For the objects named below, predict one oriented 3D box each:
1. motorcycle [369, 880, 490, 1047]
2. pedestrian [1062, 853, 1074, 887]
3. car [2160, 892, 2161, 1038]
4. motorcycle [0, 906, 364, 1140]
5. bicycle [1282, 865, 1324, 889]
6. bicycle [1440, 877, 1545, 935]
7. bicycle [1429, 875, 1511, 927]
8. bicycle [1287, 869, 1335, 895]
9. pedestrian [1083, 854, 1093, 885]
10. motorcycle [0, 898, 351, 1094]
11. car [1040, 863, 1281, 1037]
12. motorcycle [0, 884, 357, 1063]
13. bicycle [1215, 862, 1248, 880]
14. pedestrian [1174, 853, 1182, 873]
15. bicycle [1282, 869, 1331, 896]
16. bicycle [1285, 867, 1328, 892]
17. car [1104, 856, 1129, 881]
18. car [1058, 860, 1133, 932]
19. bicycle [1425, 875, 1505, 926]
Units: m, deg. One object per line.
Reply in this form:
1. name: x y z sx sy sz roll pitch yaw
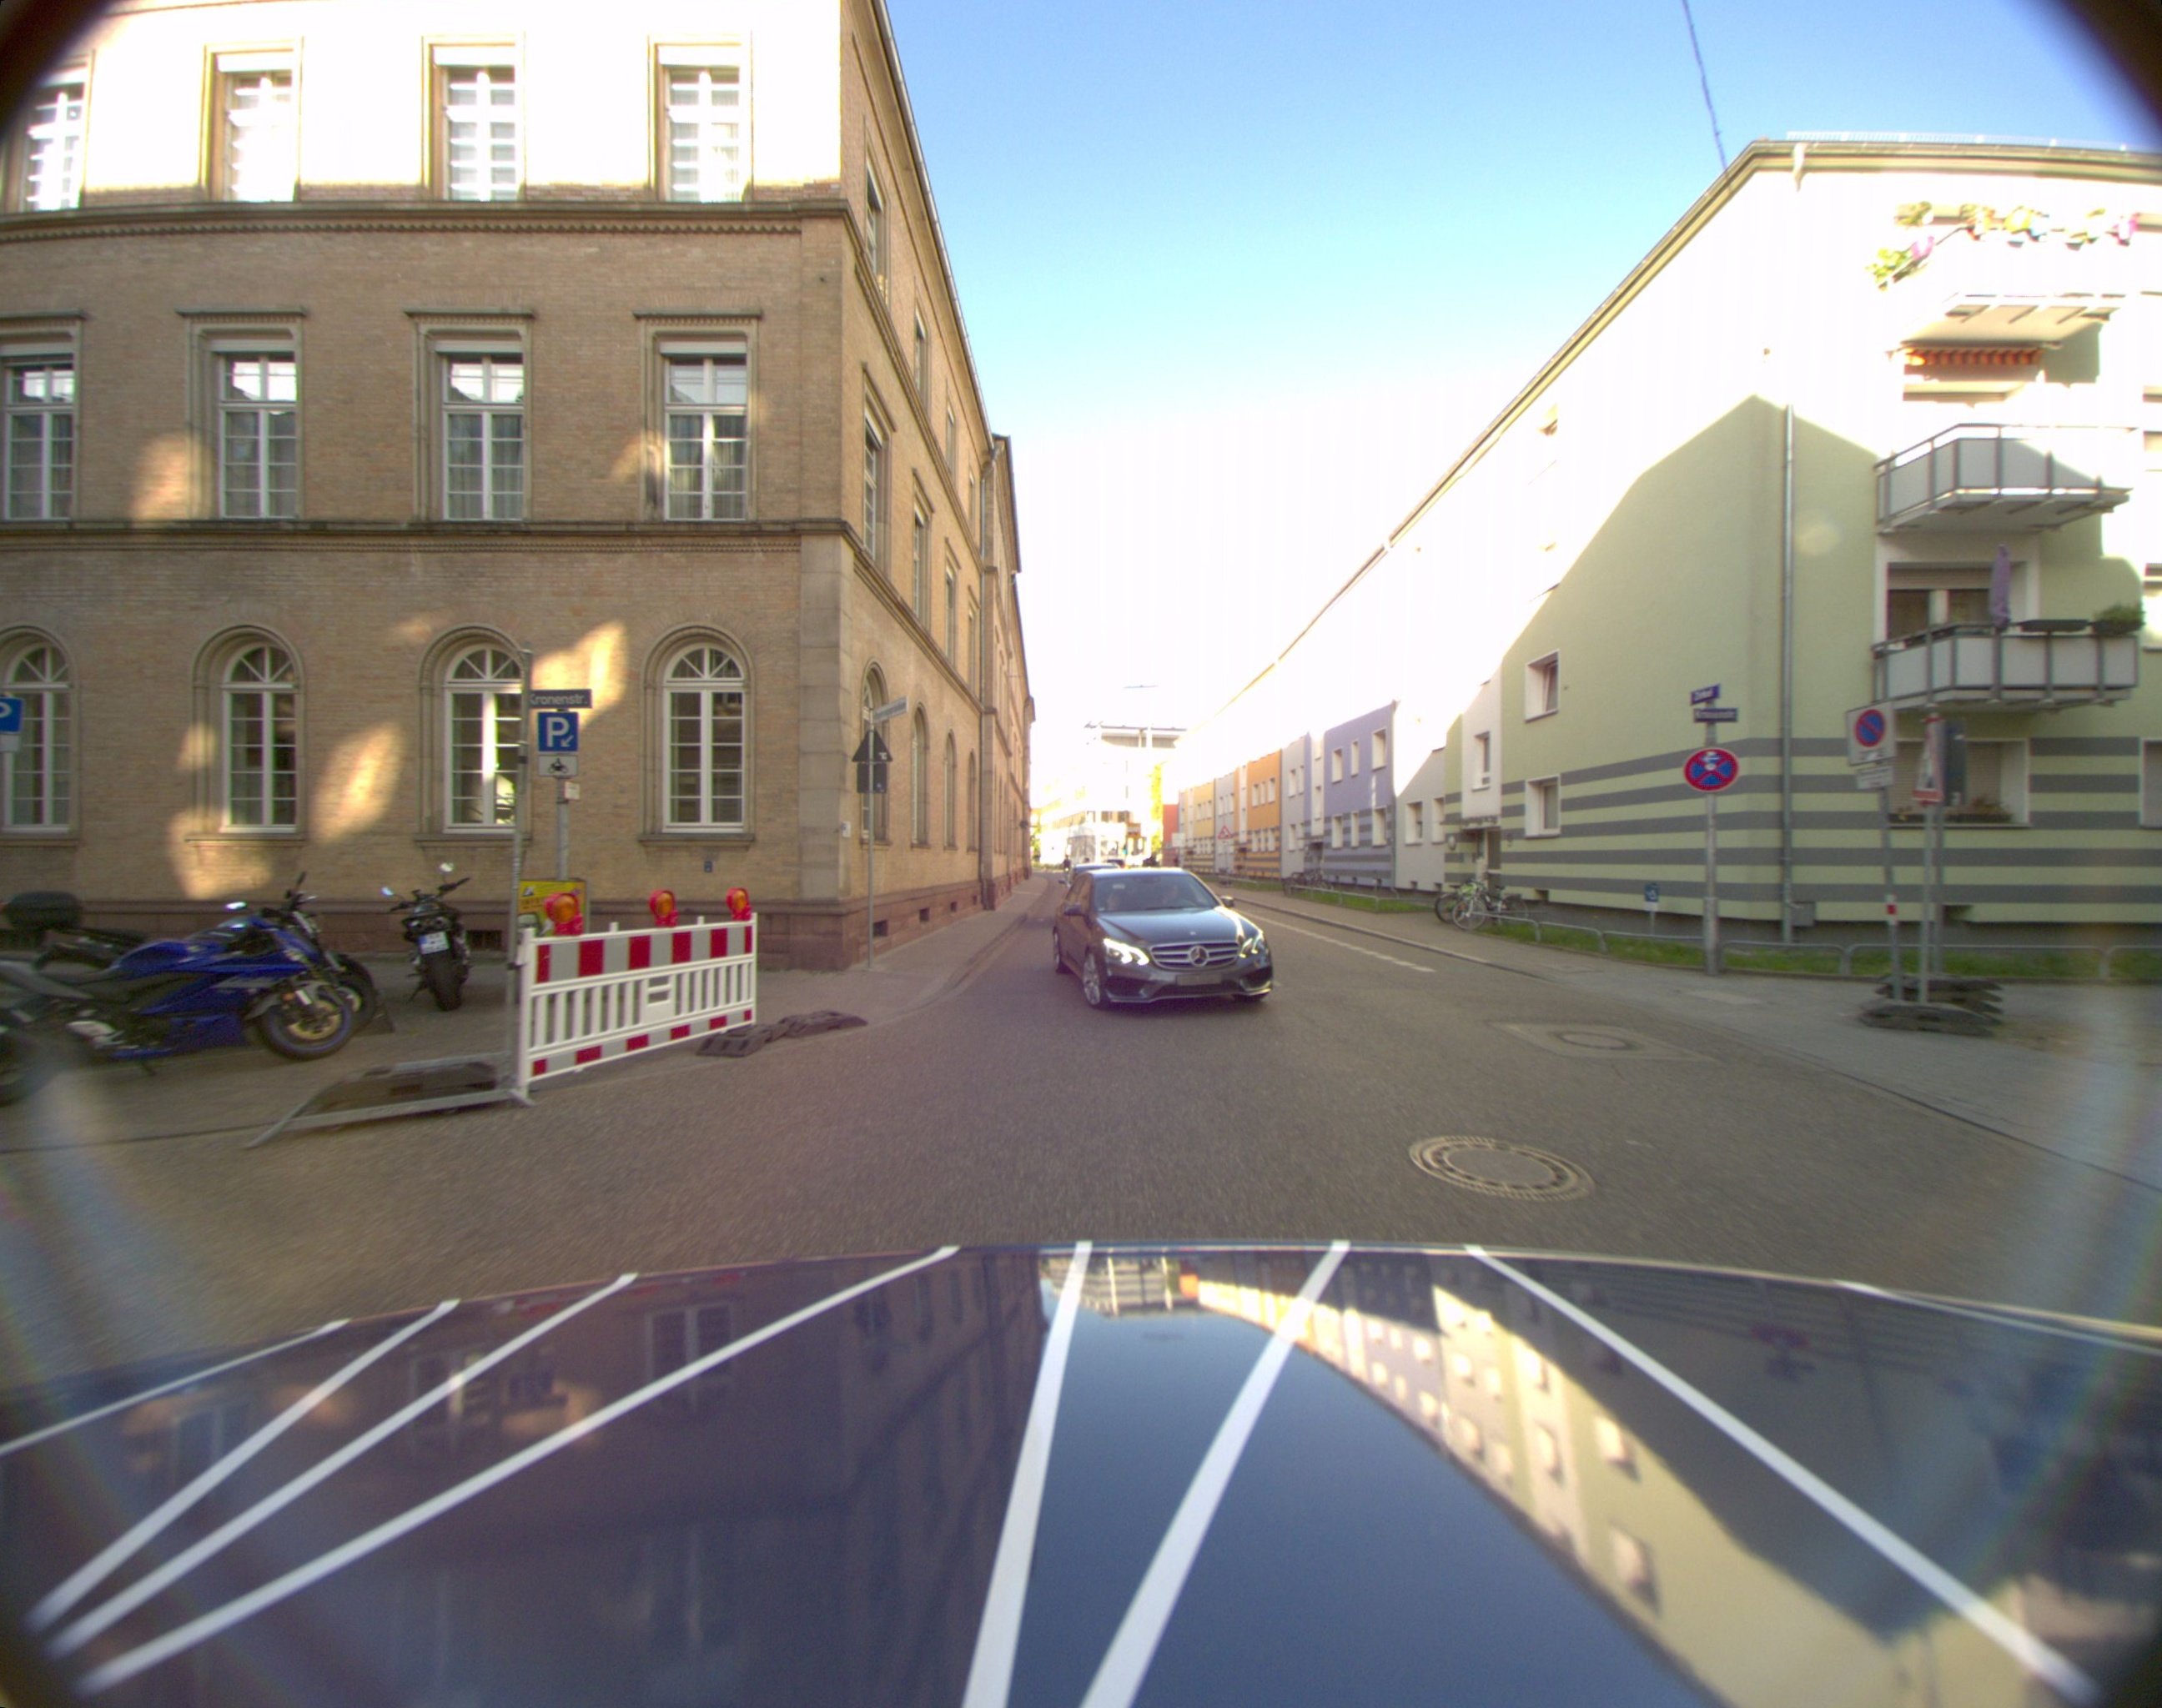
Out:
1. motorcycle: -6.368 0.957 7.381 2.073 1.325 0.708 1 2 45
2. pedestrian: -0.768 0.935 44.349 0.677 1.928 0.858 0 0 0
3. car: 12.300 1.084 6.629 3.342 1.428 1.725 0 0 0
4. motorcycle: -6.313 1.055 5.084 0.872 1.218 2.154 3 3 45
5. bicycle: 9.604 0.989 32.890 1.657 0.940 0.388 -4 1 1
6. bicycle: 8.984 1.121 16.633 1.820 1.094 0.749 -4 0 1
7. bicycle: 9.246 1.114 18.065 1.738 1.094 0.388 -4 1 -6
8. bicycle: 9.437 1.150 31.232 1.802 0.940 0.388 -4 1 1
9. pedestrian: 0.407 0.905 44.863 0.603 1.770 0.652 0 1 0
10. motorcycle: -7.131 1.021 5.979 0.827 1.217 1.958 0 1 45
11. car: 0.637 0.943 9.411 1.786 1.470 4.668 -4 -1 -8
12. motorcycle: -7.958 0.959 6.763 0.827 1.280 2.149 0 1 45
13. bicycle: 9.355 1.040 47.219 1.807 0.977 0.654 -5 1 -2
14. pedestrian: 8.107 0.739 63.461 0.612 1.641 0.447 0 1 -5
15. bicycle: 9.057 1.142 30.545 1.802 0.940 0.388 -4 1 1
16. bicycle: 9.646 1.072 32.484 1.657 0.940 0.388 -4 1 1
17. car: 2.730 1.118 59.227 1.682 1.776 4.242 -3 0 1
18. car: 0.378 1.007 20.118 1.682 1.568 4.243 -3 0 1
19. bicycle: 9.333 1.114 18.468 1.738 1.094 0.388 -4 1 -6
